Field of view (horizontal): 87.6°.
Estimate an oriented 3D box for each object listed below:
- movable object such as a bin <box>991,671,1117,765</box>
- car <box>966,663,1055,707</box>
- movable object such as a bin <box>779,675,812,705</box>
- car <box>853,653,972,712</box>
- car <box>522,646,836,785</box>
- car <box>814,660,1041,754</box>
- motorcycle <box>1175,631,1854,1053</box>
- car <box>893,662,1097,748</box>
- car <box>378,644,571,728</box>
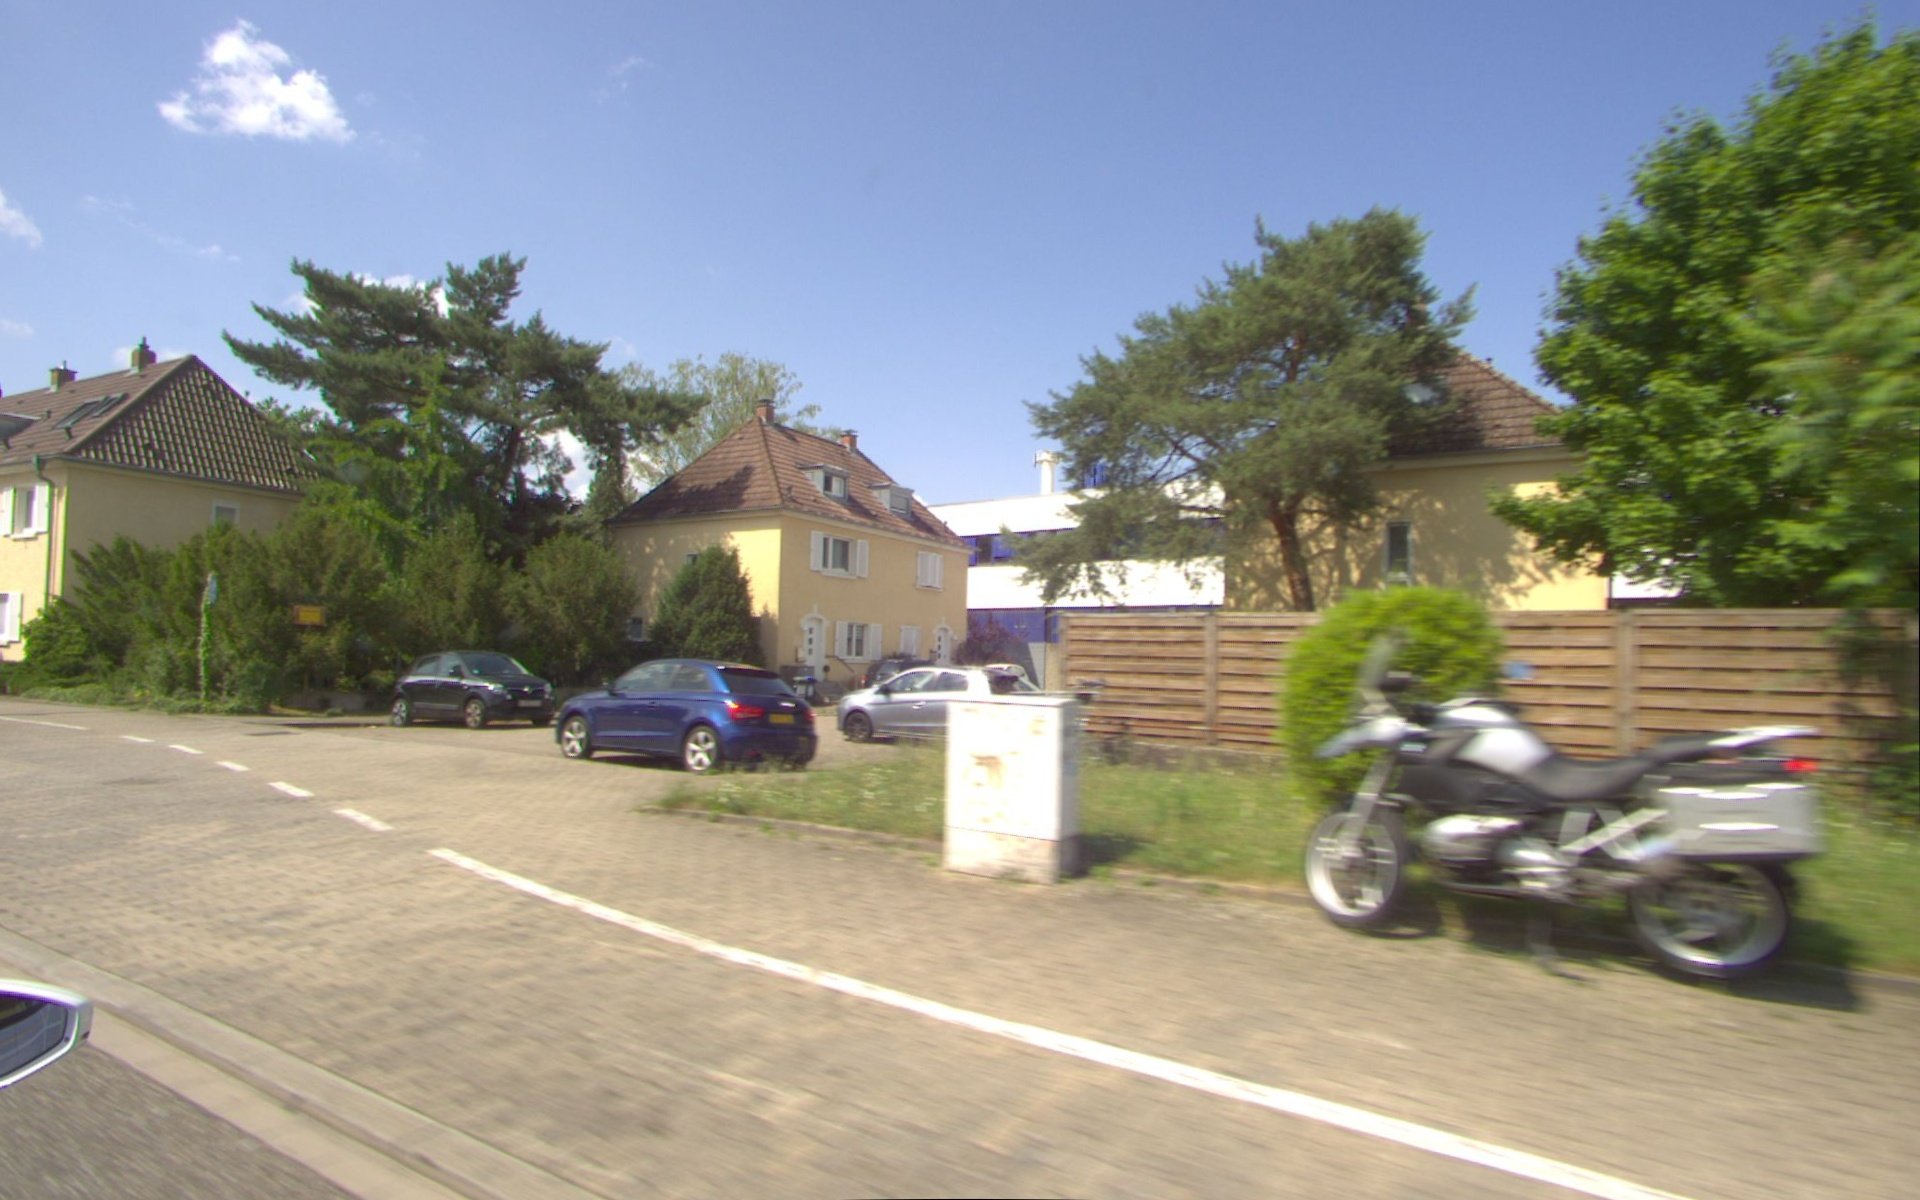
[{"bbox_3d":[1.032,1.270,11.043,1.271,0.947,0.568,-1,-3,38],"label":"movable object such as a bin"},{"bbox_3d":[1.948,3.149,37.270,1.730,1.500,4.111,-5,-6,27],"label":"car"},{"bbox_3d":[-5.237,2.865,31.860,0.730,0.925,0.699,0,-3,33],"label":"movable object such as a bin"},{"bbox_3d":[-1.423,2.600,31.568,1.710,1.708,4.108,-4,-6,31],"label":"car"},{"bbox_3d":[-3.806,1.432,13.292,4.228,1.397,1.637,1,-3,35],"label":"car"},{"bbox_3d":[-0.623,1.901,18.378,3.872,1.415,1.560,1,-3,29],"label":"car"},{"bbox_3d":[2.416,0.899,4.727,2.549,1.489,1.045,-1,-1,34],"label":"motorcycle"},{"bbox_3d":[0.696,2.070,20.415,3.870,1.429,1.539,1,-2,27],"label":"car"},{"bbox_3d":[-9.910,1.705,20.393,3.751,1.566,1.628,-1,-4,29],"label":"car"}]
